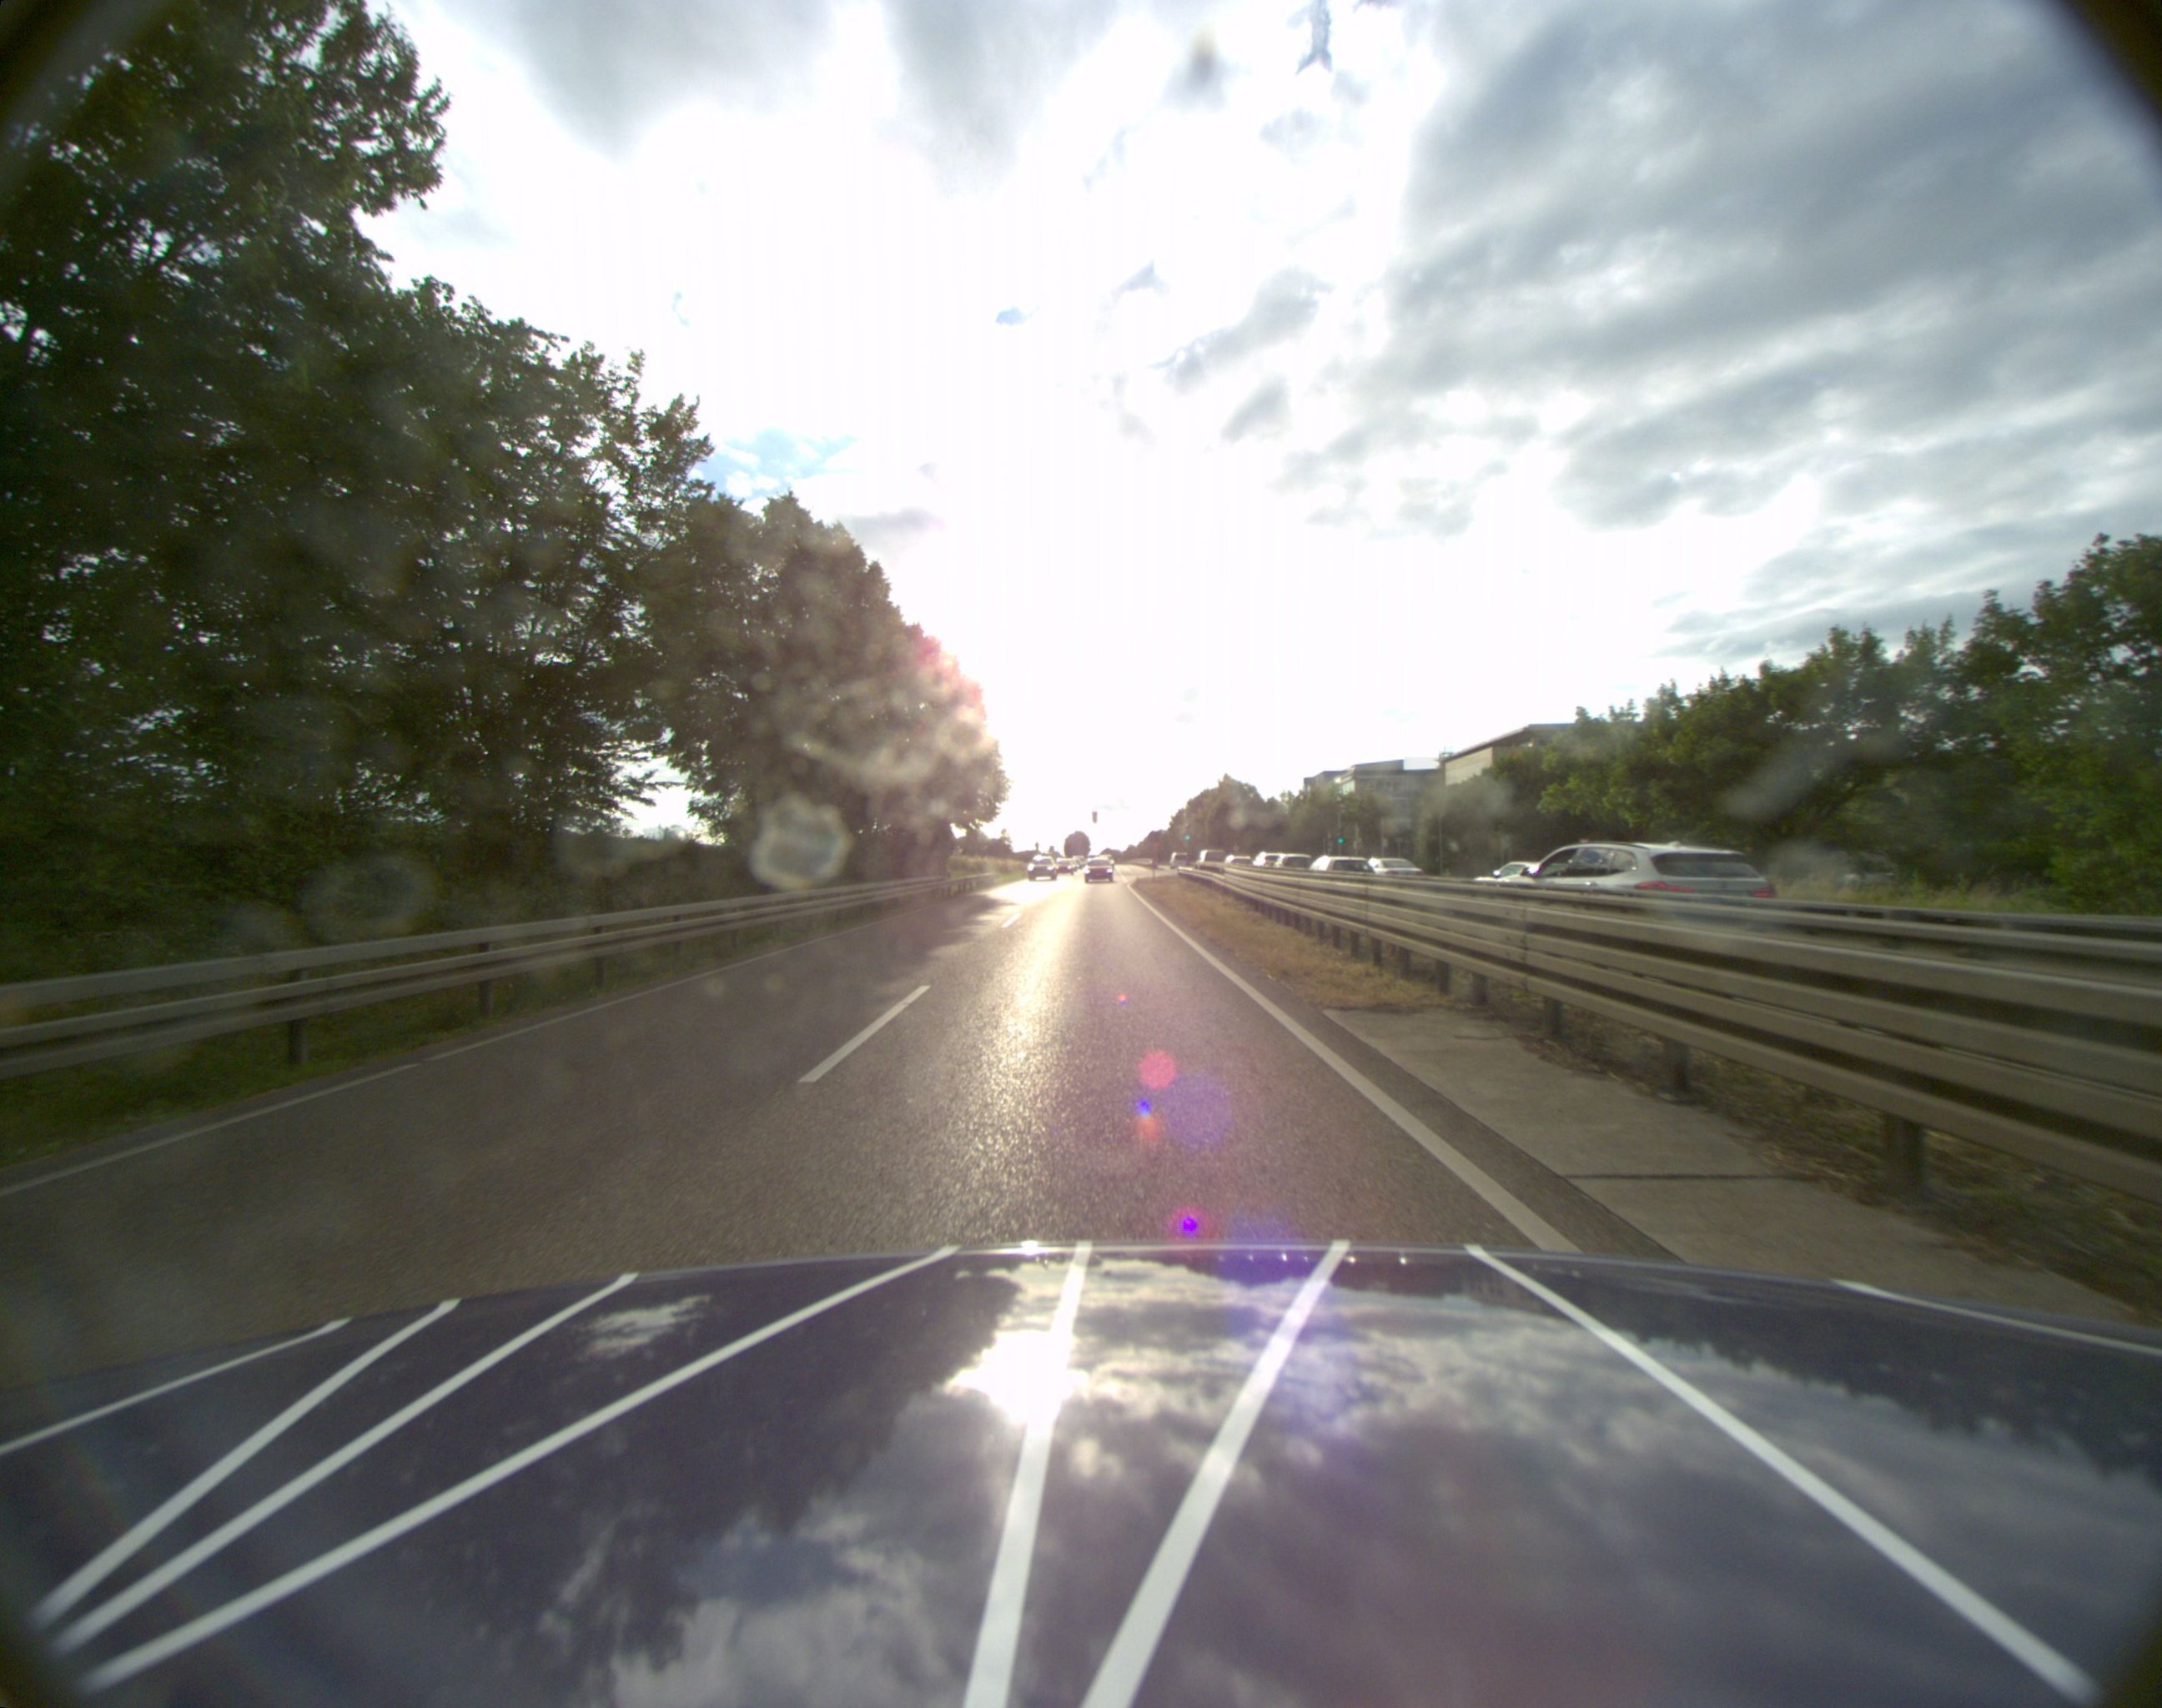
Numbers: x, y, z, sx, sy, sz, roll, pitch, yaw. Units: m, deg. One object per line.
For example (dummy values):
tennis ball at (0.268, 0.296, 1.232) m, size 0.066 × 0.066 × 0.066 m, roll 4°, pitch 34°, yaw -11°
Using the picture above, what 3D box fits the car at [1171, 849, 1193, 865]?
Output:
car at (12.019, 0.353, 90.760) m, size 1.939 × 1.861 × 5.347 m, roll -1°, pitch 0°, yaw 2°

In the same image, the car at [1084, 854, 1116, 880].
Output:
car at (1.157, 0.727, 44.886) m, size 1.723 × 1.467 × 3.728 m, roll -1°, pitch 0°, yaw 3°

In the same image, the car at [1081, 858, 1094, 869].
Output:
car at (1.189, 1.635, 132.450) m, size 1.998 × 1.740 × 4.000 m, roll 3°, pitch 1°, yaw 2°

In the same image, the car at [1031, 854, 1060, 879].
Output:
car at (-2.537, 0.877, 55.560) m, size 1.723 × 1.658 × 4.420 m, roll -2°, pitch 0°, yaw 2°

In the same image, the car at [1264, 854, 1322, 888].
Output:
car at (9.244, 0.744, 33.371) m, size 1.560 × 1.352 × 3.463 m, roll -2°, pitch -1°, yaw 1°

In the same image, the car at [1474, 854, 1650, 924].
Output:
car at (12.003, 0.799, 19.375) m, size 1.839 × 1.527 × 4.397 m, roll -1°, pitch 0°, yaw 2°

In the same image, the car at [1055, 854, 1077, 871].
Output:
car at (-1.305, 0.746, 68.677) m, size 1.668 × 1.467 × 3.867 m, roll -2°, pitch 0°, yaw 3°

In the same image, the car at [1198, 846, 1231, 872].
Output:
car at (10.481, 0.339, 60.057) m, size 1.903 × 1.905 × 5.051 m, roll -2°, pitch 0°, yaw 3°

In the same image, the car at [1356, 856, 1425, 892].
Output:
car at (12.373, 0.763, 30.565) m, size 1.433 × 1.345 × 3.310 m, roll 0°, pitch 0°, yaw -1°

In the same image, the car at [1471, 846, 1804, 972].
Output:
car at (8.244, 0.681, 11.972) m, size 1.827 × 1.575 × 4.790 m, roll -1°, pitch 0°, yaw 1°

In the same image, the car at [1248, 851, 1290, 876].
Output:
car at (13.642, 0.637, 55.326) m, size 2.038 × 1.739 × 4.846 m, roll 1°, pitch 0°, yaw 3°

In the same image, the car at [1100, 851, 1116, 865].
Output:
car at (3.256, 0.487, 90.546) m, size 1.786 × 1.624 × 3.866 m, roll 0°, pitch 1°, yaw 4°

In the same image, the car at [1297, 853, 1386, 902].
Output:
car at (8.576, 0.728, 25.326) m, size 1.722 × 1.458 × 3.734 m, roll -1°, pitch 0°, yaw 1°

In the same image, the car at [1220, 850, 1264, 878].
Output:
car at (9.469, 0.562, 45.008) m, size 1.717 × 1.580 × 4.554 m, roll -1°, pitch 0°, yaw 1°
